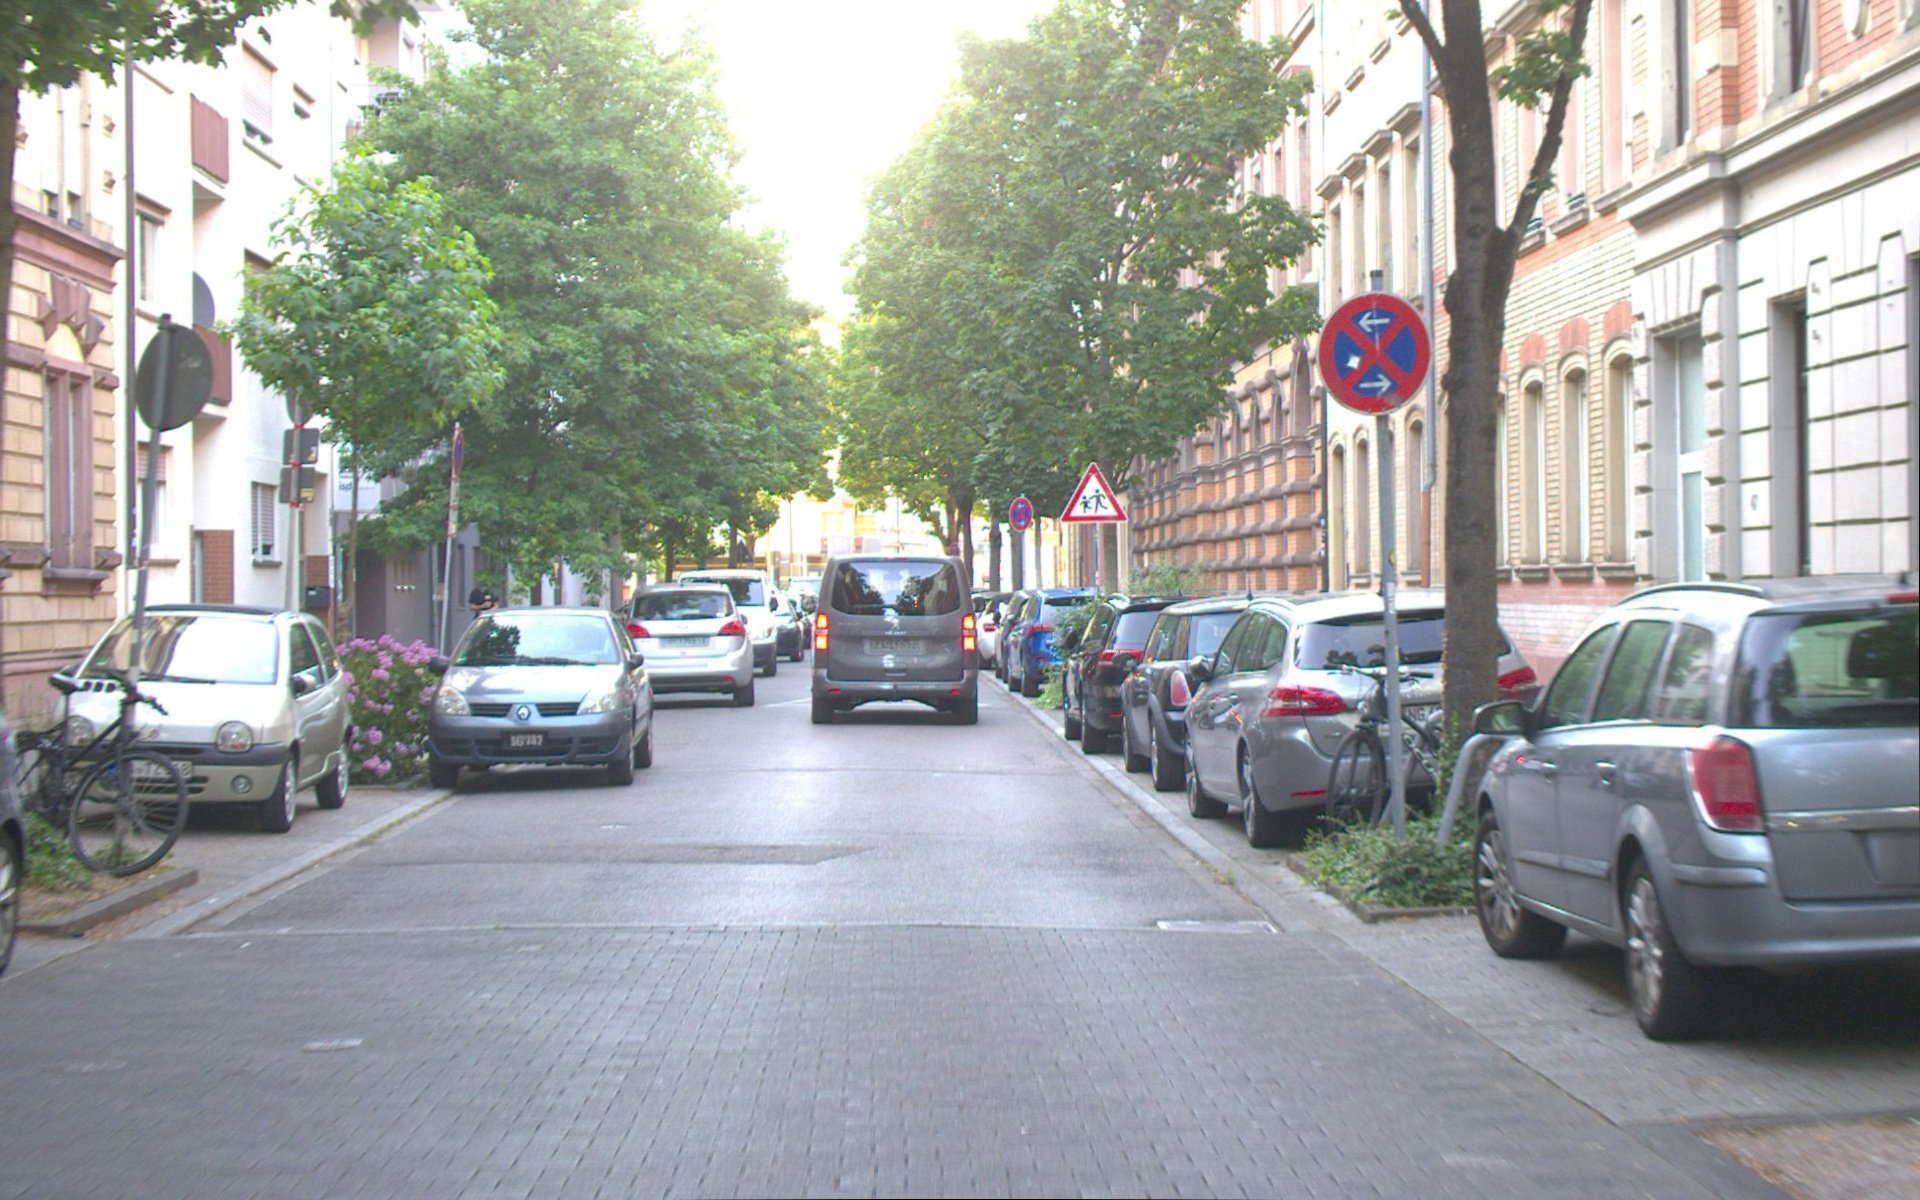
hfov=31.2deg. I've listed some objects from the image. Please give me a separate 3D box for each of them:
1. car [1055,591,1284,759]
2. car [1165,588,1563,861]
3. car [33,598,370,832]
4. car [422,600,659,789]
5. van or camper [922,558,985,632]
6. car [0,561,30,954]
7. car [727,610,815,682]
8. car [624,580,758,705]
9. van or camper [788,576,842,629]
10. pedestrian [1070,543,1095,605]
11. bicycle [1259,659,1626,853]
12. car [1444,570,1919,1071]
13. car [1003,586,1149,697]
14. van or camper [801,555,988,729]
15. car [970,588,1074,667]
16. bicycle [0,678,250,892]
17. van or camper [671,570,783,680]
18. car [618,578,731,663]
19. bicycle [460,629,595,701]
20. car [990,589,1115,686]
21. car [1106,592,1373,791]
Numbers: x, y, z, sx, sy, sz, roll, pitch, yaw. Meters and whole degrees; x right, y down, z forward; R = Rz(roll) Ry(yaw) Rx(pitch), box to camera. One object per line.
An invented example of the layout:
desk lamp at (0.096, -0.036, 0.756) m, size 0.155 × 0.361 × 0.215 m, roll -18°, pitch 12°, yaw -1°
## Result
car at (1.906, 0.654, 32.550) m, size 1.766 × 1.410 × 4.474 m, roll -2°, pitch 0°, yaw -1°
car at (2.414, 0.693, 21.600) m, size 1.716 × 1.471 × 4.368 m, roll -2°, pitch 0°, yaw -3°
car at (-5.097, 0.726, 23.503) m, size 1.587 × 1.432 × 3.566 m, roll 1°, pitch 0°, yaw -2°
car at (-3.379, 0.724, 28.204) m, size 1.580 × 1.415 × 3.753 m, roll -1°, pitch 0°, yaw -2°
van or camper at (-0.258, -0.179, 123.798) m, size 1.993 × 2.590 × 5.425 m, roll 0°, pitch 0°, yaw -3°
car at (-4.675, 0.636, 12.108) m, size 1.706 × 1.575 × 4.078 m, roll 1°, pitch 1°, yaw -1°
car at (-4.097, 0.979, 75.114) m, size 1.830 × 1.512 × 4.516 m, roll 0°, pitch 0°, yaw -2°
car at (-3.566, 0.528, 45.565) m, size 1.663 × 1.558 × 4.001 m, roll -1°, pitch 0°, yaw -5°
van or camper at (-5.584, 0.102, 132.702) m, size 1.862 × 1.976 × 4.271 m, roll -1°, pitch 0°, yaw 0°
pedestrian at (3.265, -0.693, 91.537) m, size 0.627 × 1.643 × 0.532 m, roll 0°, pitch 0°, yaw -1°
bicycle at (2.629, 0.832, 18.704) m, size 1.915 × 0.978 × 0.638 m, roll 0°, pitch 0°, yaw -23°
car at (3.005, 0.635, 12.359) m, size 1.758 × 1.458 × 4.308 m, roll -1°, pitch 0°, yaw -2°
car at (1.571, 0.543, 47.748) m, size 1.627 × 1.461 × 4.246 m, roll -1°, pitch 0°, yaw -3°
van or camper at (-0.694, 0.449, 39.576) m, size 2.035 × 1.891 × 4.271 m, roll 0°, pitch 0°, yaw 1°
car at (1.130, 0.493, 64.553) m, size 1.693 × 1.396 × 4.646 m, roll -1°, pitch 0°, yaw -2°
bicycle at (-4.693, 0.977, 18.658) m, size 1.826 × 1.081 × 0.667 m, roll 0°, pitch -1°, yaw 42°
van or camper at (-4.096, 0.414, 60.822) m, size 1.876 × 1.836 × 4.753 m, roll -1°, pitch 0°, yaw -3°
car at (-5.801, 0.398, 70.303) m, size 1.993 × 1.641 × 4.922 m, roll 1°, pitch 0°, yaw -2°
bicycle at (-5.526, 0.830, 43.999) m, size 1.699 × 0.904 × 0.383 m, roll 0°, pitch 0°, yaw -31°
car at (1.429, 0.563, 54.457) m, size 1.711 × 1.473 × 4.193 m, roll 0°, pitch 0°, yaw -2°
car at (2.148, 0.671, 27.206) m, size 1.635 × 1.419 × 3.565 m, roll -1°, pitch 0°, yaw -3°
